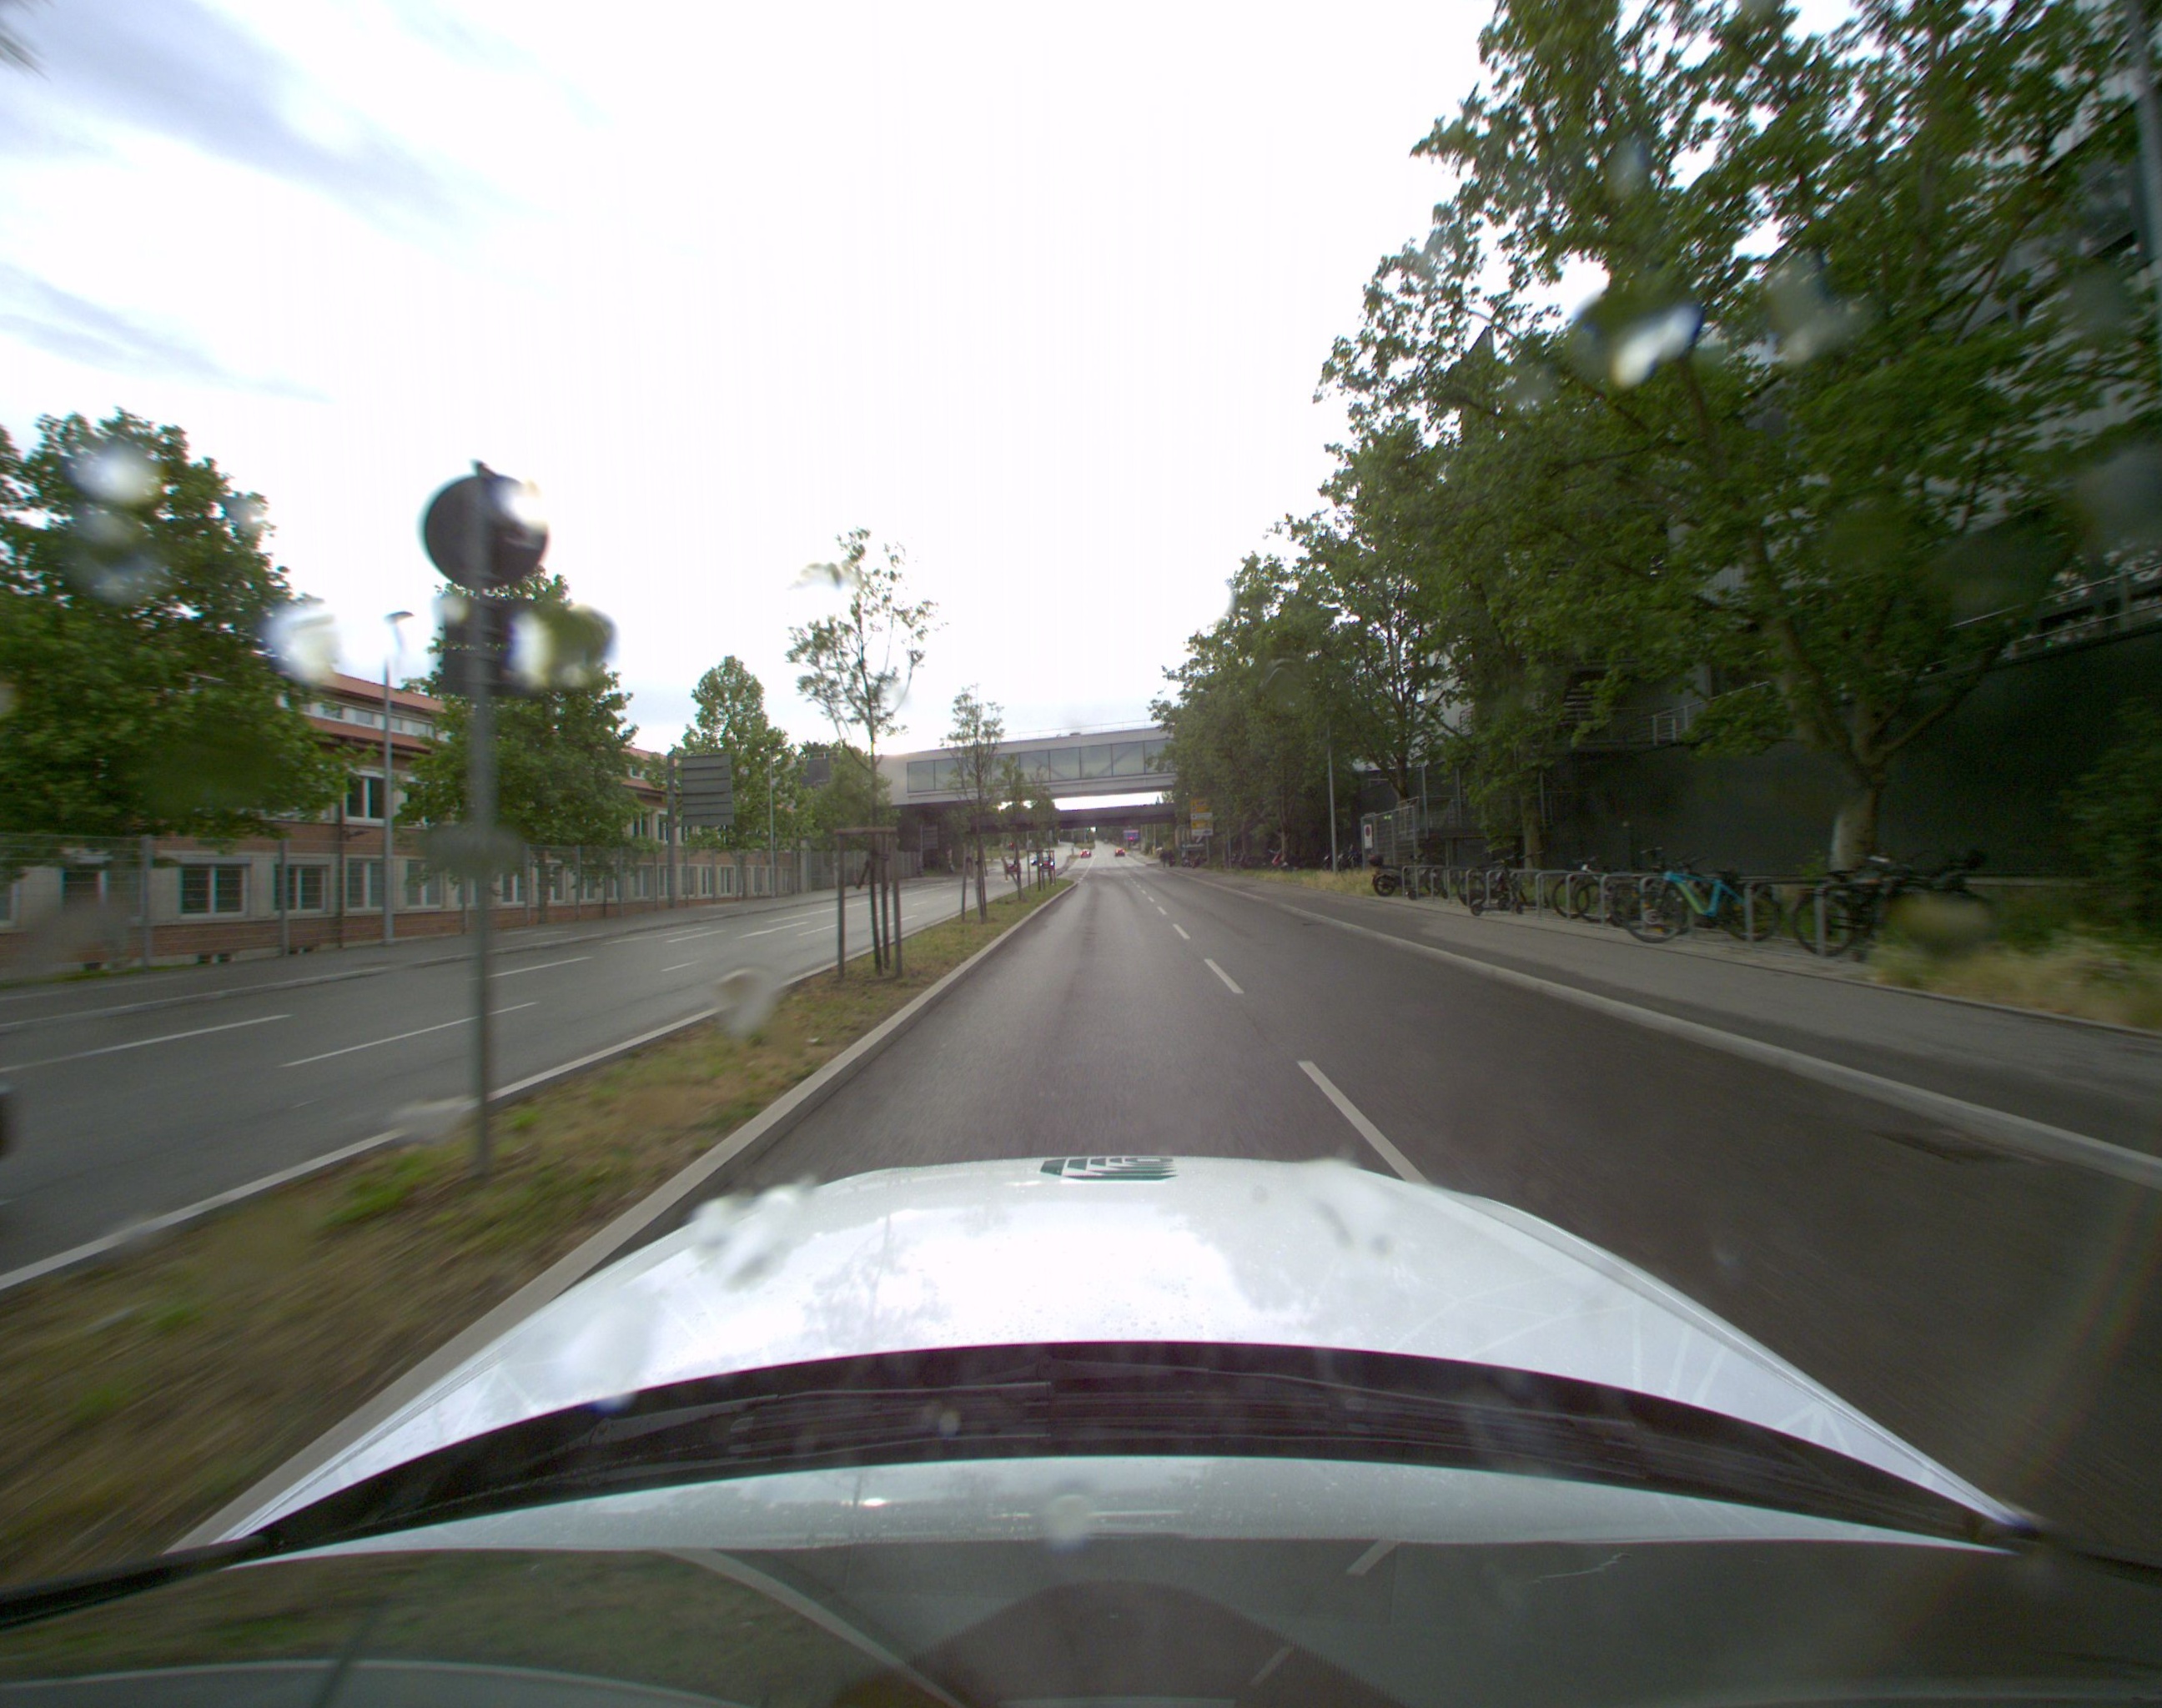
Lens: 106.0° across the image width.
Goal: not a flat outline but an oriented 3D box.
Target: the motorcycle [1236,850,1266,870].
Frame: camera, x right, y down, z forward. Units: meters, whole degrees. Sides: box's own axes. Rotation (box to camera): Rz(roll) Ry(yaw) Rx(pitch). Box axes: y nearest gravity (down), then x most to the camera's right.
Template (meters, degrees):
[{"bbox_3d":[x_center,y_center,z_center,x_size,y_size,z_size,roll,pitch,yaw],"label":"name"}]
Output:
[{"bbox_3d":[10.938,0.373,52.357,1.851,1.191,0.519,-3,0,-14],"label":"motorcycle"}]

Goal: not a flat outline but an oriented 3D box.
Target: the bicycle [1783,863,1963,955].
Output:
[{"bbox_3d":[8.996,0.616,9.270,1.601,0.939,0.387,-3,-1,1],"label":"bicycle"}]

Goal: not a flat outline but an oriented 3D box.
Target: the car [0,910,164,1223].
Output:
[{"bbox_3d":[-5.847,1.033,2.364,1.572,1.404,4.113,-3,-1,2],"label":"car"}]

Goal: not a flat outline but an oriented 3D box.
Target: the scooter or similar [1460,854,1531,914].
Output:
[{"bbox_3d":[8.144,0.581,16.014,1.210,1.091,0.312,-3,-1,-3],"label":"scooter or similar"}]

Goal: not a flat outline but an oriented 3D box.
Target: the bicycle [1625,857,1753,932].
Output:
[{"bbox_3d":[9.005,0.590,12.076,1.546,1.005,0.393,-3,-1,1],"label":"bicycle"}]

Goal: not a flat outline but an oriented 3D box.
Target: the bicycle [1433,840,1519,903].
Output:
[{"bbox_3d":[9.192,0.399,18.961,1.859,1.348,0.446,-3,-1,-11],"label":"bicycle"}]

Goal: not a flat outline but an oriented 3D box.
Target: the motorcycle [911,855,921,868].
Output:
[{"bbox_3d":[-16.337,0.703,80.774,0.467,1.205,1.997,-3,0,1],"label":"motorcycle"}]

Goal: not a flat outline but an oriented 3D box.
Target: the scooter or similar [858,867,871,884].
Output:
[{"bbox_3d":[-16.345,1.587,61.584,0.309,1.218,1.312,-3,0,13],"label":"scooter or similar"}]

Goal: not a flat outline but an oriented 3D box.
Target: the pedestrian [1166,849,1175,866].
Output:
[{"bbox_3d":[8.588,0.320,78.184,0.646,1.596,0.581,-3,0,13],"label":"pedestrian"}]

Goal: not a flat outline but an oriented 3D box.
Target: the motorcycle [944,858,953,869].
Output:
[{"bbox_3d":[-15.641,1.122,96.164,0.466,1.158,1.935,-3,0,5],"label":"motorcycle"}]

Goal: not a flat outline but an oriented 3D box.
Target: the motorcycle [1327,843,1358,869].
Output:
[{"bbox_3d":[13.934,0.124,43.359,1.484,1.365,0.509,-1,-1,29],"label":"motorcycle"}]

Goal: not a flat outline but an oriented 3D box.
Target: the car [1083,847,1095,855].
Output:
[{"bbox_3d":[1.660,-0.543,170.921,2.156,1.582,4.669,-1,-1,4],"label":"car"}]

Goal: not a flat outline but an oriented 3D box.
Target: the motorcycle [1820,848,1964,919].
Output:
[{"bbox_3d":[12.568,0.451,12.652,1.602,1.001,0.577,-3,-1,1],"label":"motorcycle"}]

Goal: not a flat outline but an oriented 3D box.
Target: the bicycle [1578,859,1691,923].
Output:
[{"bbox_3d":[9.097,0.605,13.413,1.546,0.958,0.393,-3,-1,1],"label":"bicycle"}]

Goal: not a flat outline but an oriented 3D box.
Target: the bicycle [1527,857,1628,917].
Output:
[{"bbox_3d":[9.062,0.591,14.880,1.546,1.005,0.393,-3,-1,1],"label":"bicycle"}]

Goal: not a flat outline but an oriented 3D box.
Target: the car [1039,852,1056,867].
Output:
[{"bbox_3d":[-3.847,0.659,93.124,1.579,1.605,3.856,-4,-1,1],"label":"car"}]

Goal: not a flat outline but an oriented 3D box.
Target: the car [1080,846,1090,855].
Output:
[{"bbox_3d":[0.767,-0.669,158.858,2.070,1.718,4.197,0,-1,-1],"label":"car"}]

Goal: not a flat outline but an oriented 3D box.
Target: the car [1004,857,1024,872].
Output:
[{"bbox_3d":[-7.188,1.095,87.818,1.710,1.437,3.772,-4,-1,0],"label":"car"}]

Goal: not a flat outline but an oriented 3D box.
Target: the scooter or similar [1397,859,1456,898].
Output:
[{"bbox_3d":[9.058,0.626,21.336,1.476,0.937,0.364,-3,-1,-16],"label":"scooter or similar"}]

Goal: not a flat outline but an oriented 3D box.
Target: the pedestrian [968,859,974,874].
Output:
[{"bbox_3d":[-13.957,1.551,103.516,0.516,1.816,0.802,-2,0,11],"label":"pedestrian"}]

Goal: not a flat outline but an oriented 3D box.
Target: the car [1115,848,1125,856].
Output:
[{"bbox_3d":[7.654,-0.460,158.384,1.739,1.470,4.167,-2,1,1],"label":"car"}]

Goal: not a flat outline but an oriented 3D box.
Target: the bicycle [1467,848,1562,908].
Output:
[{"bbox_3d":[9.196,0.499,17.302,1.785,1.167,0.447,-3,-1,-5],"label":"bicycle"}]

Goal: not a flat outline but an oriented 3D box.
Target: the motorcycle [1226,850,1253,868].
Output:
[{"bbox_3d":[11.936,0.381,61.318,1.851,1.253,0.627,-3,0,-14],"label":"motorcycle"}]

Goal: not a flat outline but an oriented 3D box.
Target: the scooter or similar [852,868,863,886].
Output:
[{"bbox_3d":[-16.325,1.657,59.481,0.310,1.218,1.308,-3,0,2],"label":"scooter or similar"}]

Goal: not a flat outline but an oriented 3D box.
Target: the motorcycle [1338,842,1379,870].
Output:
[{"bbox_3d":[14.079,0.101,41.389,1.924,1.365,0.505,0,-1,-4],"label":"motorcycle"}]

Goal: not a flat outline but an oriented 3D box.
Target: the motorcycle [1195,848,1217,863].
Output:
[{"bbox_3d":[11.557,0.154,75.099,1.919,1.297,0.551,-3,0,36],"label":"motorcycle"}]

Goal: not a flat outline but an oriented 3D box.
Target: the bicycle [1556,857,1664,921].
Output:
[{"bbox_3d":[9.119,0.596,14.058,1.546,1.005,0.393,-3,-1,1],"label":"bicycle"}]

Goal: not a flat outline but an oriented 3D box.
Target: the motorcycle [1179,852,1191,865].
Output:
[{"bbox_3d":[9.873,0.441,77.447,0.470,1.213,1.936,-3,0,-12],"label":"motorcycle"}]

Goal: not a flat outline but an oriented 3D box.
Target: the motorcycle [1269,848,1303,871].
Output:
[{"bbox_3d":[10.625,0.284,42.267,1.643,1.150,0.494,-1,-1,9],"label":"motorcycle"}]

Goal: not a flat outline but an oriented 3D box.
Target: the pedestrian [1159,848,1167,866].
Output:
[{"bbox_3d":[7.873,0.270,78.491,0.607,1.721,0.895,-3,0,11],"label":"pedestrian"}]

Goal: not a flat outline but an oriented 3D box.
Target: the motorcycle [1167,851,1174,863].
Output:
[{"bbox_3d":[8.620,0.269,78.466,0.468,1.136,1.819,-3,0,1],"label":"motorcycle"}]

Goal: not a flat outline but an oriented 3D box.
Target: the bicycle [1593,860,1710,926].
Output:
[{"bbox_3d":[9.090,0.620,12.996,1.546,0.958,0.393,-3,-1,1],"label":"bicycle"}]

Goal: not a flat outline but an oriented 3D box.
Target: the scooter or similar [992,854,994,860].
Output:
[{"bbox_3d":[-18.086,0.541,167.872,0.311,1.218,1.302,-2,1,-12],"label":"scooter or similar"}]

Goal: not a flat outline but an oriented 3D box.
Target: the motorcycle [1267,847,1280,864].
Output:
[{"bbox_3d":[14.900,0.127,63.059,0.345,1.279,2.084,-3,0,29],"label":"motorcycle"}]

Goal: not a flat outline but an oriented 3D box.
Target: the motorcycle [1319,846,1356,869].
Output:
[{"bbox_3d":[14.285,0.195,45.380,1.904,1.257,0.492,-1,-1,7],"label":"motorcycle"}]

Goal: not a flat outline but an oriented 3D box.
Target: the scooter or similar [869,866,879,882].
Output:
[{"bbox_3d":[-16.232,1.564,63.842,0.310,1.218,1.310,-3,0,6],"label":"scooter or similar"}]

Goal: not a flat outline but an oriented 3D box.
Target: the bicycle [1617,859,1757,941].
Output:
[{"bbox_3d":[8.230,0.616,11.086,1.546,1.005,0.393,-3,-1,1],"label":"bicycle"}]

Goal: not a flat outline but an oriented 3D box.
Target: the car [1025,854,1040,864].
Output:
[{"bbox_3d":[-7.385,0.816,124.336,2.057,1.361,4.756,-3,0,0],"label":"car"}]

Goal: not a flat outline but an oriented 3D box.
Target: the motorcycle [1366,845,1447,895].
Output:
[{"bbox_3d":[9.060,0.448,22.745,1.994,1.273,0.443,-3,0,13],"label":"motorcycle"}]
